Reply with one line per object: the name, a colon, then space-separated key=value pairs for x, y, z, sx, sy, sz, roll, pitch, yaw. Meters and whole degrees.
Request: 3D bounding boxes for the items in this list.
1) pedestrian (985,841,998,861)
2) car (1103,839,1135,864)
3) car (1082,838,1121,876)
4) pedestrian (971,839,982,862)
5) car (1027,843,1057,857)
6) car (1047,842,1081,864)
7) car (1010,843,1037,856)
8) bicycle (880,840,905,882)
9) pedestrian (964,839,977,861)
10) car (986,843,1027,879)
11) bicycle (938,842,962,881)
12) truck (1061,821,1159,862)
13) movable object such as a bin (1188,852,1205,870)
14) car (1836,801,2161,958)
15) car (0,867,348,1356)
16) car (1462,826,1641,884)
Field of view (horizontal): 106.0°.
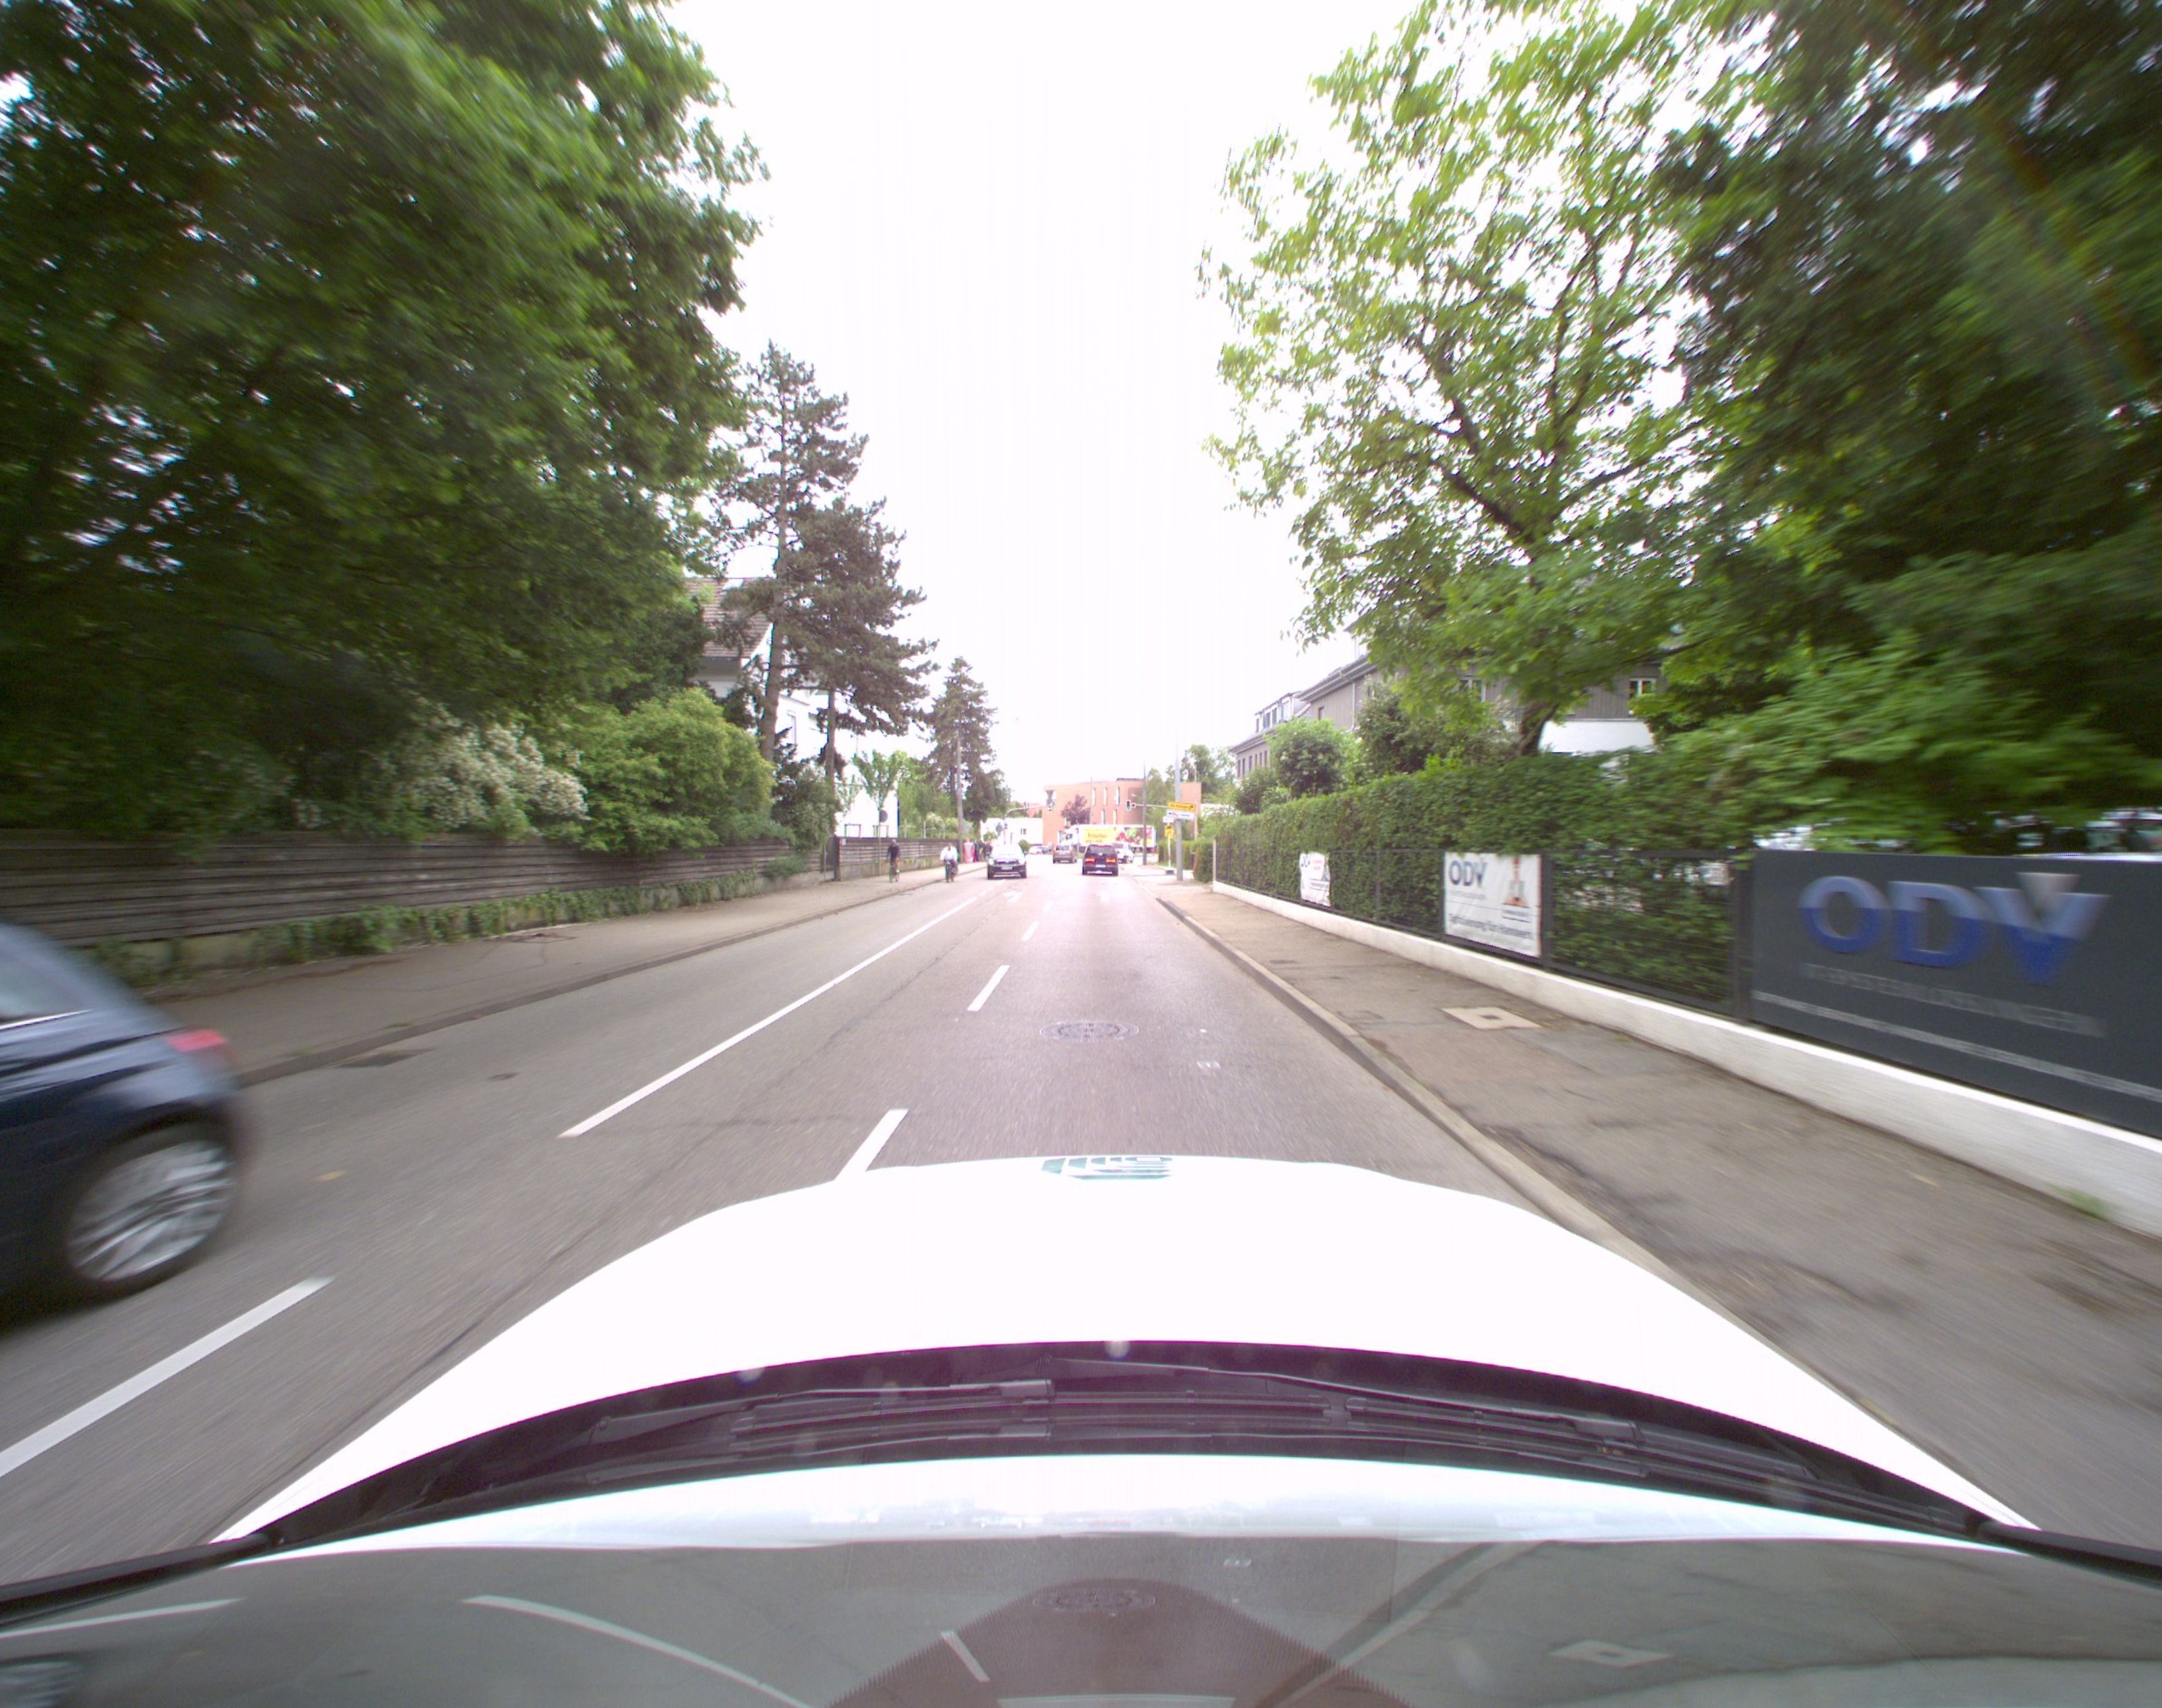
pedestrian: x=-7.543 y=-0.247 z=68.619 sx=0.687 sy=1.734 sz=0.757 roll=1 pitch=1 yaw=45
car: x=3.378 y=-0.278 z=72.129 sx=1.948 sy=2.013 sz=4.444 roll=4 pitch=2 yaw=13
car: x=1.078 y=0.169 z=43.419 sx=1.986 sy=1.882 sz=4.000 roll=1 pitch=-1 yaw=1
pedestrian: x=-8.676 y=-0.293 z=67.492 sx=0.754 sy=1.837 sz=0.609 roll=1 pitch=1 yaw=-28
car: x=-5.968 y=-0.591 z=124.818 sx=4.009 sy=2.013 sz=1.982 roll=0 pitch=1 yaw=-28
car: x=-1.327 y=-0.104 z=66.392 sx=1.881 sy=1.706 sz=4.013 roll=1 pitch=1 yaw=12
car: x=-9.349 y=-0.698 z=131.950 sx=4.009 sy=2.013 sz=1.983 roll=0 pitch=1 yaw=-27
bicycle: x=-7.808 y=0.271 z=33.807 sx=0.560 sy=1.676 sz=1.980 roll=1 pitch=0 yaw=0
pedestrian: x=-9.153 y=-0.350 z=67.540 sx=0.818 sy=1.763 sz=0.861 roll=1 pitch=1 yaw=-22
car: x=-3.577 y=0.289 z=39.508 sx=1.828 sy=1.630 sz=4.276 roll=-1 pitch=1 yaw=-4
bicycle: x=-5.945 y=0.323 z=37.045 sx=0.756 sy=1.744 sz=1.871 roll=-1 pitch=0 yaw=0
truck: x=3.536 y=-1.566 z=99.674 sx=11.722 sy=4.734 sz=3.134 roll=1 pitch=1 yaw=-1
movable object such as a bin: x=7.134 y=0.456 z=50.334 sx=0.719 sy=1.073 sz=0.674 roll=3 pitch=-1 yaw=-37
car: x=9.890 y=0.230 z=8.348 sx=2.979 sy=1.452 sz=1.350 roll=-1 pitch=0 yaw=4
car: x=-4.161 y=0.828 z=1.953 sx=1.716 sy=1.471 sz=3.526 roll=-1 pitch=0 yaw=-4
car: x=12.591 y=0.004 z=22.107 sx=3.953 sy=1.464 sz=2.010 roll=0 pitch=0 yaw=20
